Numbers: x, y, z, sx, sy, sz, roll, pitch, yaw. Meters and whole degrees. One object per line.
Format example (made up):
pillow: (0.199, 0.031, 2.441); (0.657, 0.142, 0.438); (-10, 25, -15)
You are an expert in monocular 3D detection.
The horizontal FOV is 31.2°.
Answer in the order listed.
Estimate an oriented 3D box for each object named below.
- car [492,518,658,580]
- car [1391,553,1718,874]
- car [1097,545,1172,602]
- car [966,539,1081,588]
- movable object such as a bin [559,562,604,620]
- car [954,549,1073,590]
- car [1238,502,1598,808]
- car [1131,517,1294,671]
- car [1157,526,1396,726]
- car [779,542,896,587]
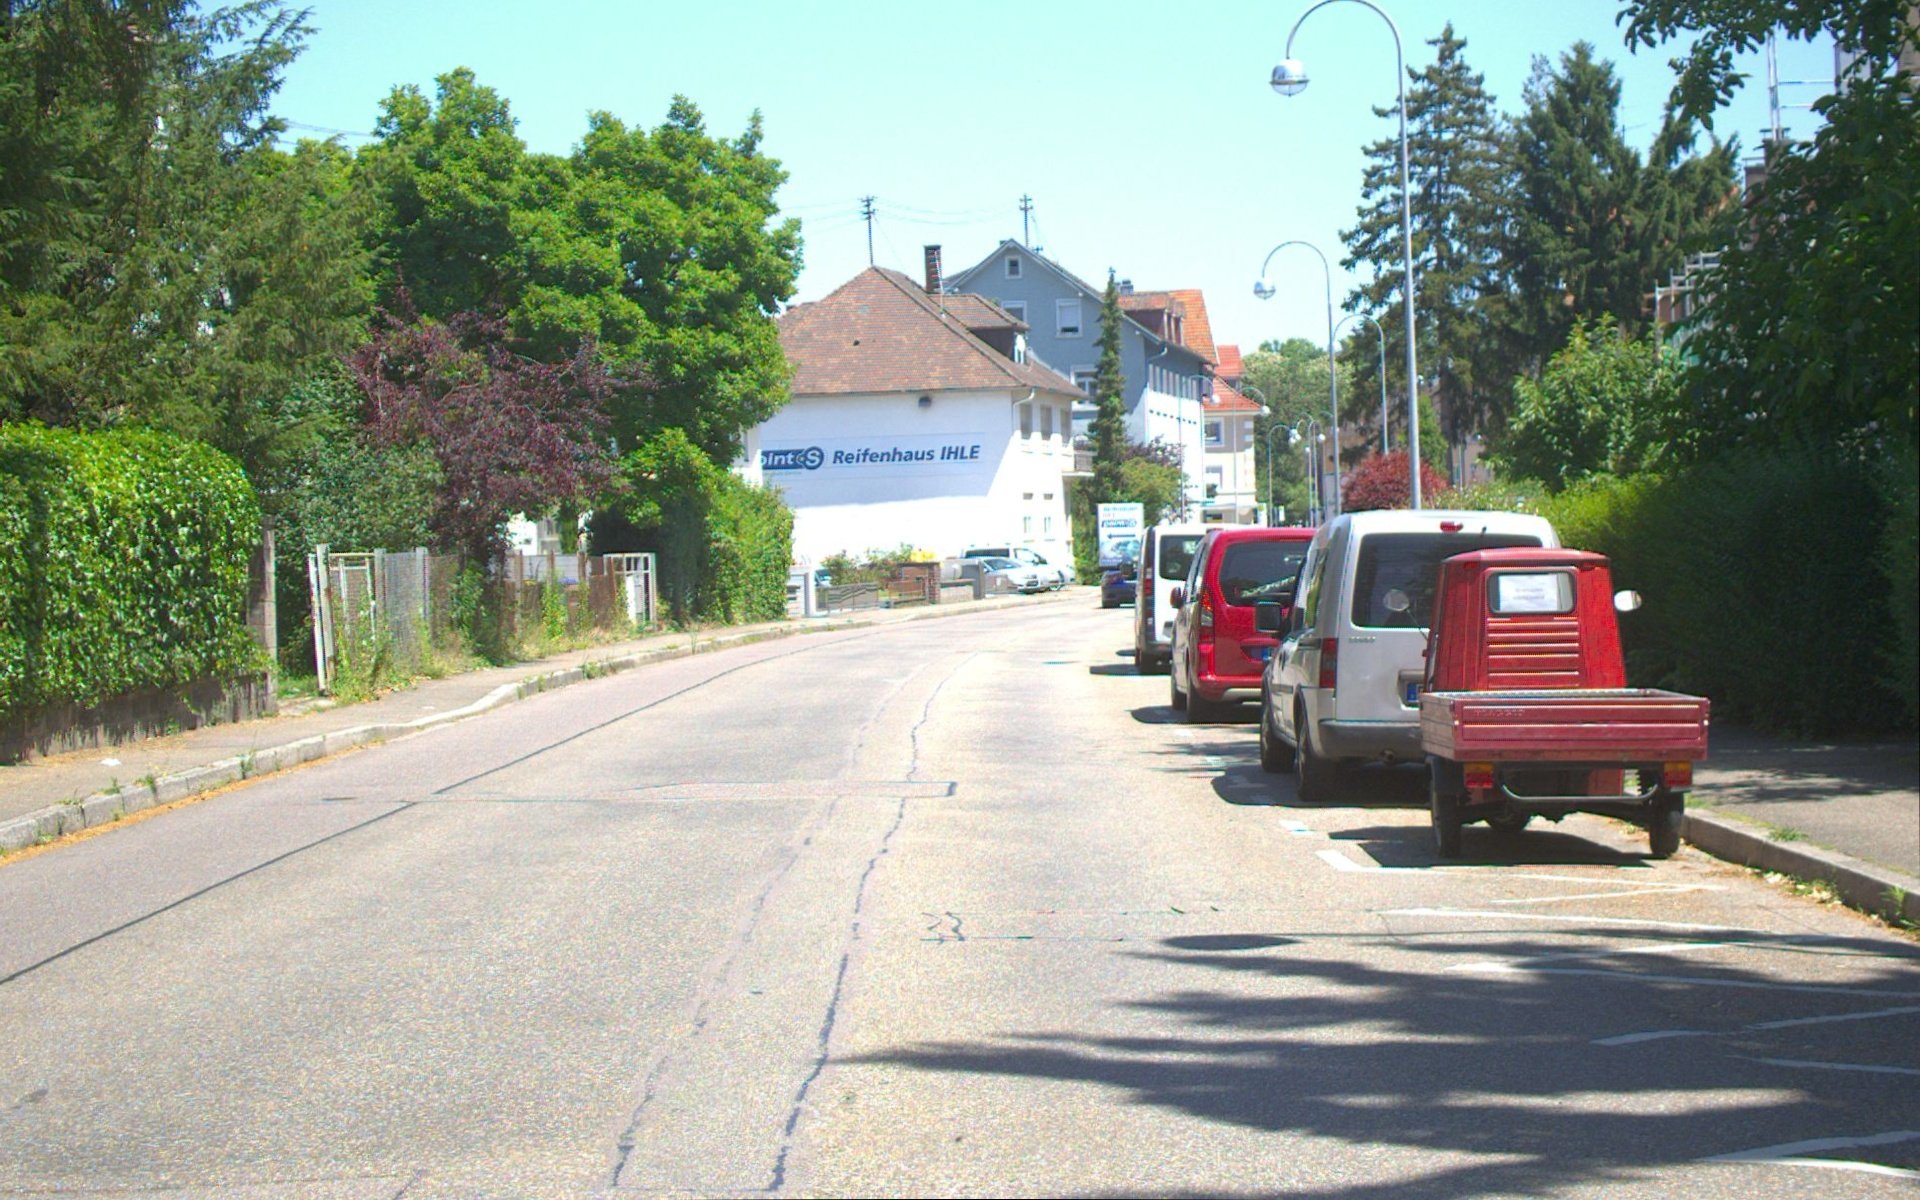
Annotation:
car: (-9.579, -1.271, 85.822); (3.986, 1.505, 1.800); (0, 1, -2)
car: (2.966, 0.516, 17.538); (1.260, 1.490, 2.709); (1, 1, 2)
car: (4.885, -0.757, 95.933); (1.795, 1.505, 3.999); (1, 2, 7)
car: (2.390, -1.370, 128.349); (4.129, 1.768, 1.828); (-1, 1, 6)
movable object such as a bin: (-6.524, -0.156, 59.250); (0.708, 0.993, 0.474); (-1, 1, 1)
car: (1.969, -1.118, 125.615); (4.130, 1.389, 1.828); (-1, 1, 9)
car: (2.872, 0.291, 22.467); (1.746, 1.776, 4.543); (1, 1, 0)
car: (3.291, -0.115, 45.608); (1.903, 1.918, 4.719); (0, 1, 1)
car: (2.898, 0.204, 32.335); (1.903, 1.722, 4.391); (1, 1, 1)
car: (-4.228, -1.232, 118.037); (1.795, 1.505, 3.998); (-2, 2, -44)
